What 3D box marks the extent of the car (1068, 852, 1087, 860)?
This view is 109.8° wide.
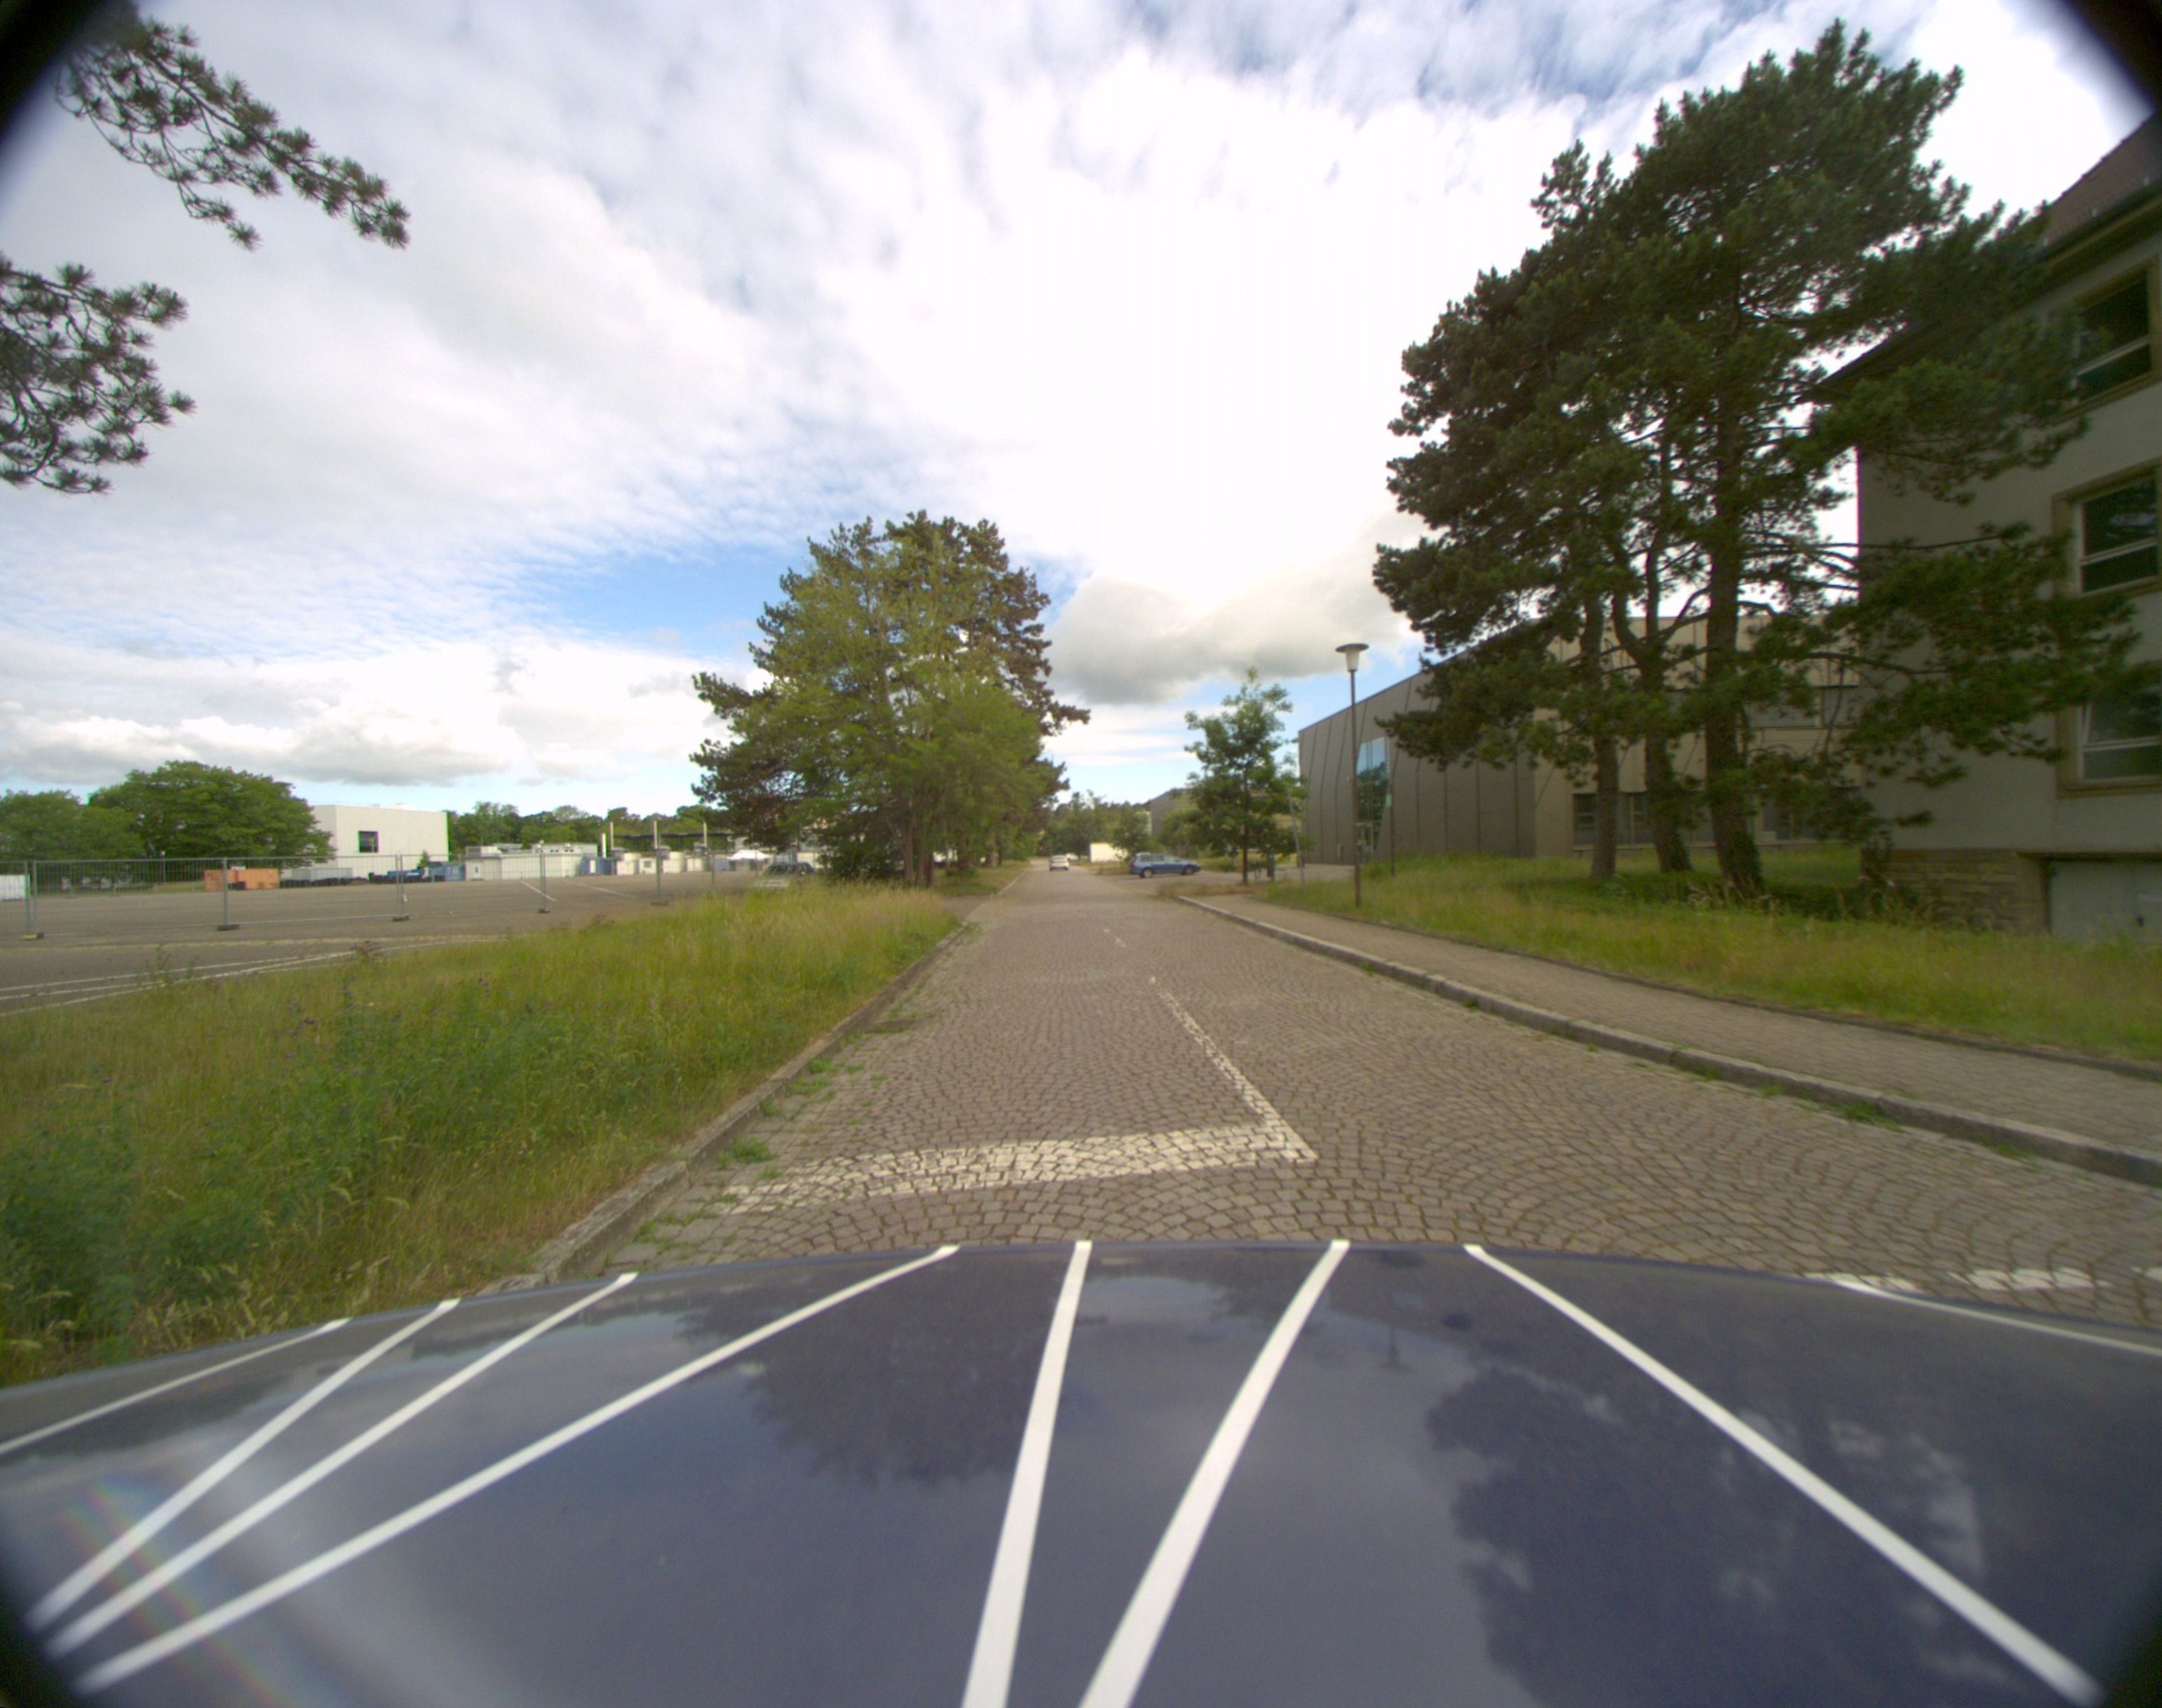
[{"bbox_3d":[-0.834,0.420,167.734,4.063,1.767,1.792,-2,1,-3],"label":"car"}]

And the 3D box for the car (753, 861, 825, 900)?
[{"bbox_3d":[-12.514,1.103,32.831,1.679,1.442,4.487,-2,1,-5],"label":"car"}]

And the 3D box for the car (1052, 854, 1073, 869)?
[{"bbox_3d":[-1.854,0.750,75.015,1.779,1.430,4.216,1,0,-5],"label":"car"}]

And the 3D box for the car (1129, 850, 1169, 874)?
[{"bbox_3d":[4.953,0.558,55.476,2.585,1.521,1.499,-4,1,-4],"label":"car"}]

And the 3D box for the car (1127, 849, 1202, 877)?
[{"bbox_3d":[5.273,0.581,48.115,4.427,1.461,1.633,-4,1,-5],"label":"car"}]
